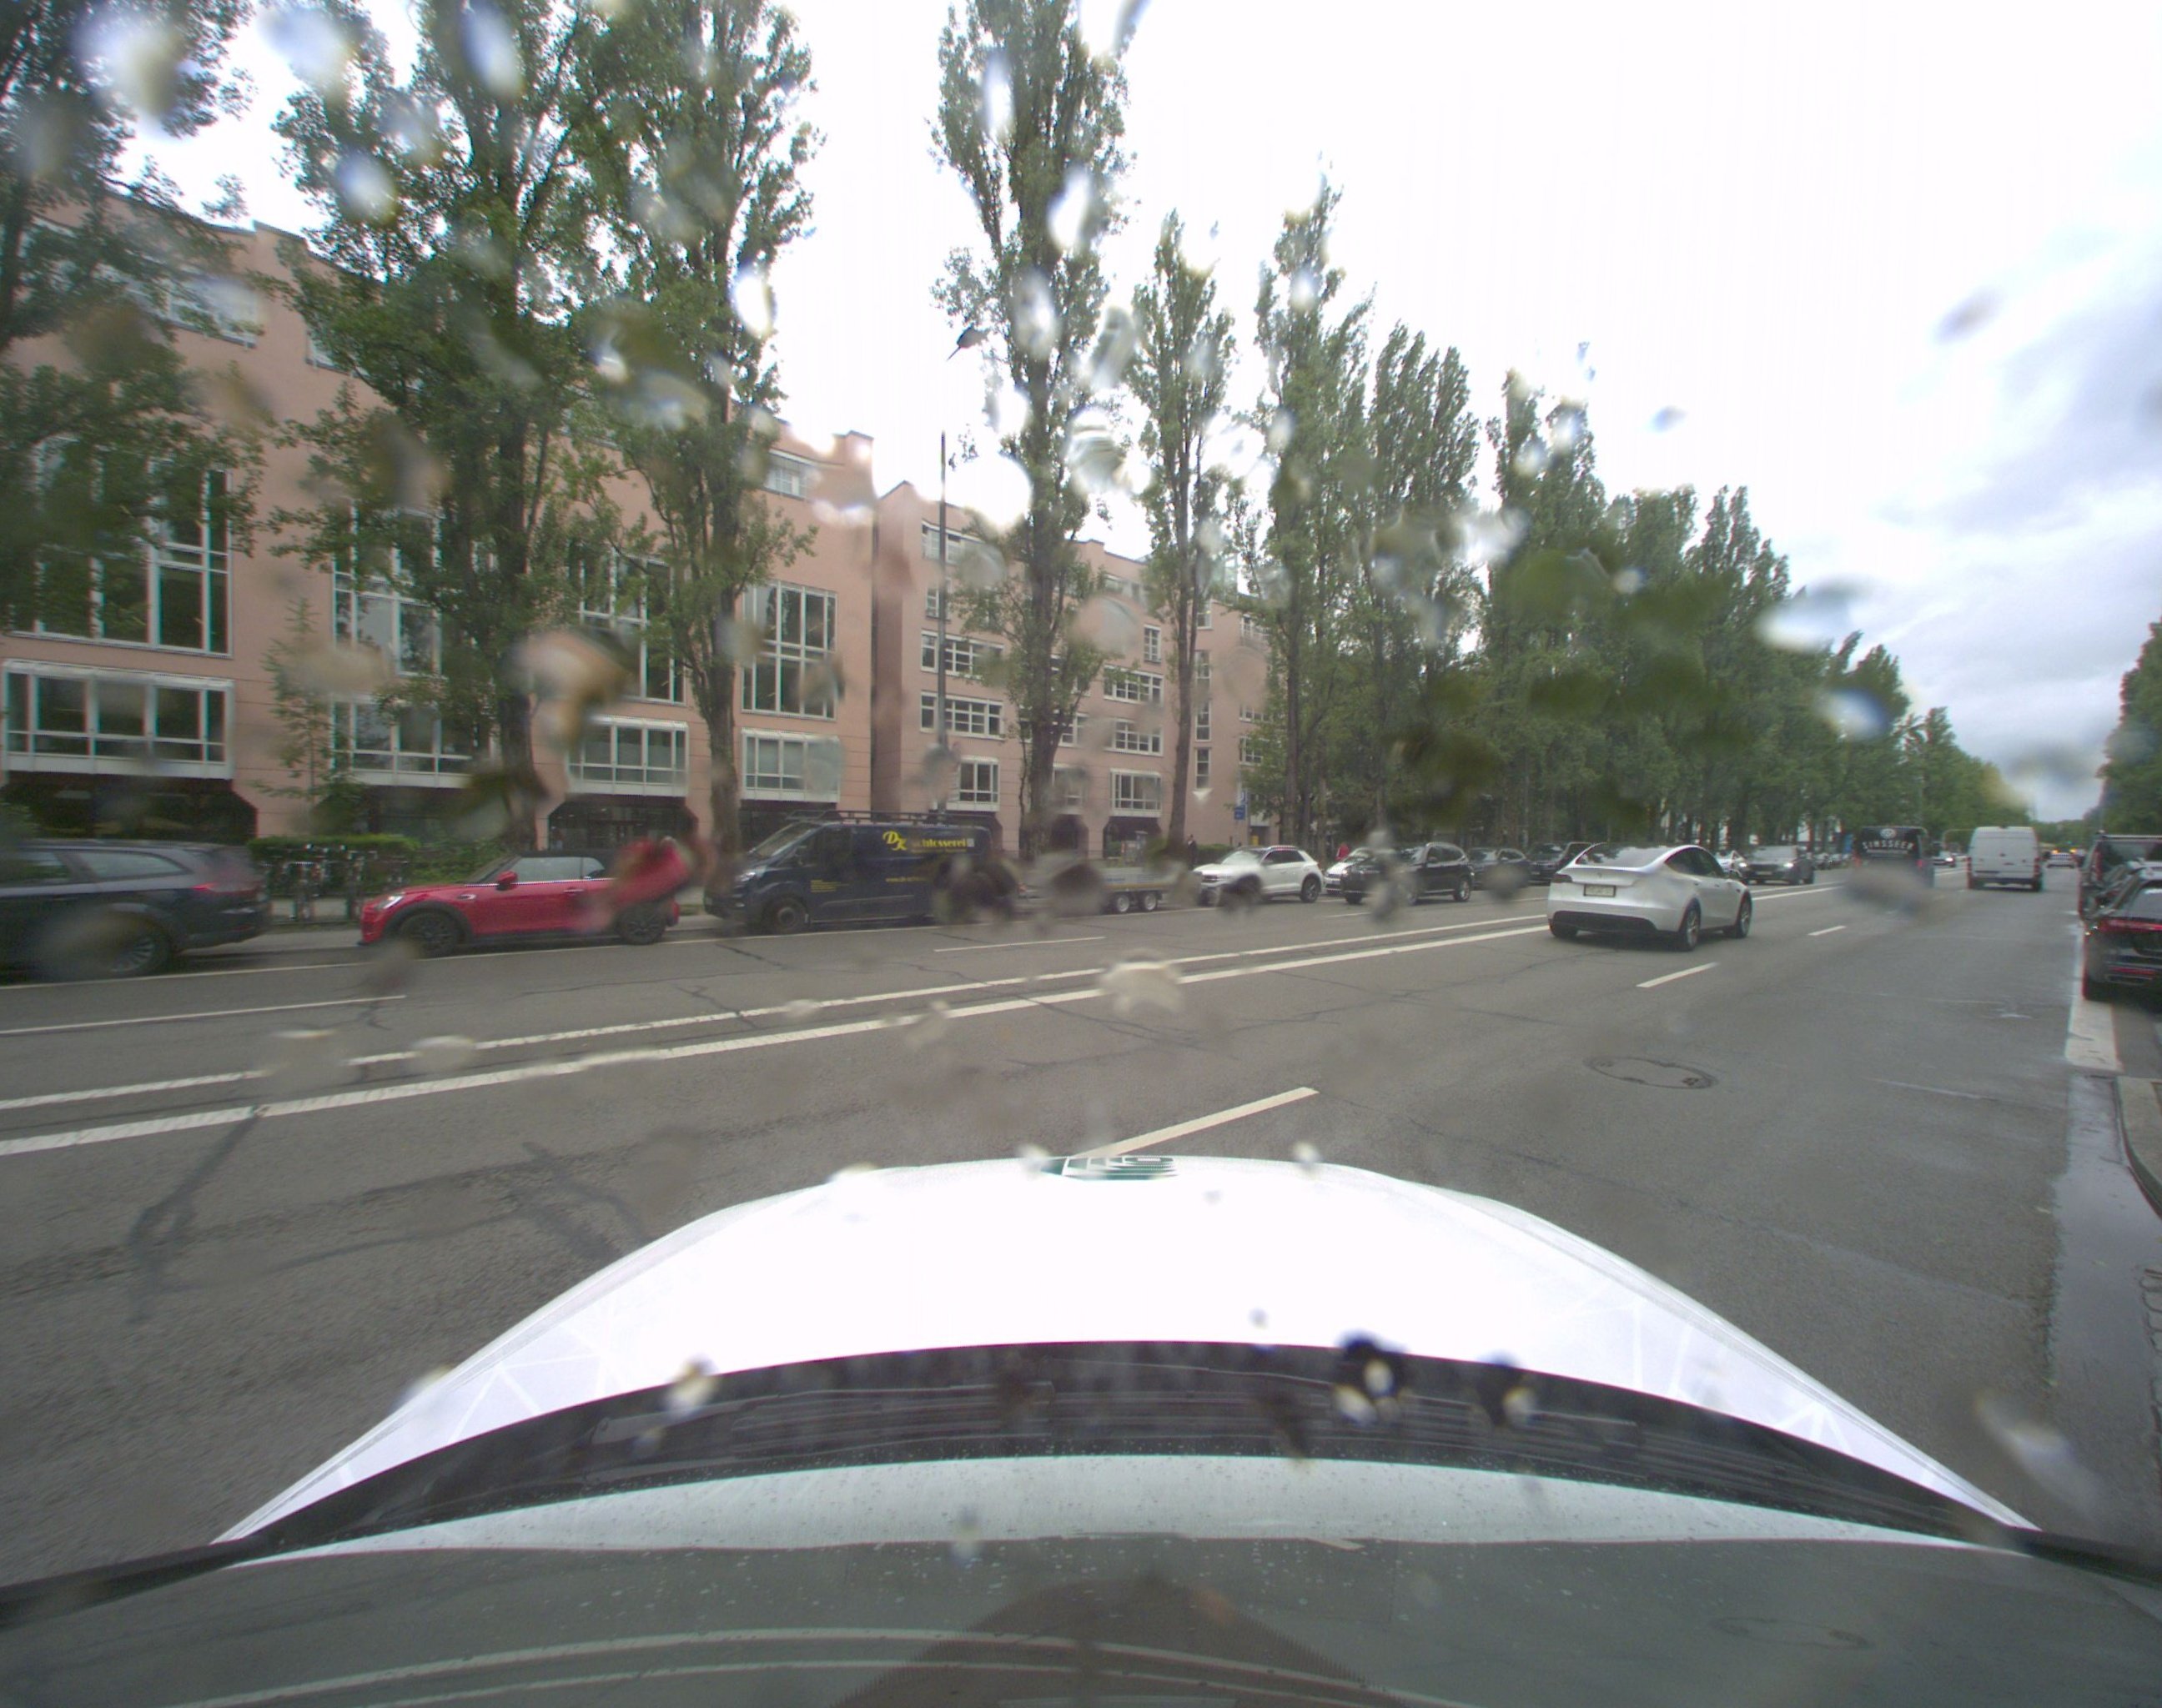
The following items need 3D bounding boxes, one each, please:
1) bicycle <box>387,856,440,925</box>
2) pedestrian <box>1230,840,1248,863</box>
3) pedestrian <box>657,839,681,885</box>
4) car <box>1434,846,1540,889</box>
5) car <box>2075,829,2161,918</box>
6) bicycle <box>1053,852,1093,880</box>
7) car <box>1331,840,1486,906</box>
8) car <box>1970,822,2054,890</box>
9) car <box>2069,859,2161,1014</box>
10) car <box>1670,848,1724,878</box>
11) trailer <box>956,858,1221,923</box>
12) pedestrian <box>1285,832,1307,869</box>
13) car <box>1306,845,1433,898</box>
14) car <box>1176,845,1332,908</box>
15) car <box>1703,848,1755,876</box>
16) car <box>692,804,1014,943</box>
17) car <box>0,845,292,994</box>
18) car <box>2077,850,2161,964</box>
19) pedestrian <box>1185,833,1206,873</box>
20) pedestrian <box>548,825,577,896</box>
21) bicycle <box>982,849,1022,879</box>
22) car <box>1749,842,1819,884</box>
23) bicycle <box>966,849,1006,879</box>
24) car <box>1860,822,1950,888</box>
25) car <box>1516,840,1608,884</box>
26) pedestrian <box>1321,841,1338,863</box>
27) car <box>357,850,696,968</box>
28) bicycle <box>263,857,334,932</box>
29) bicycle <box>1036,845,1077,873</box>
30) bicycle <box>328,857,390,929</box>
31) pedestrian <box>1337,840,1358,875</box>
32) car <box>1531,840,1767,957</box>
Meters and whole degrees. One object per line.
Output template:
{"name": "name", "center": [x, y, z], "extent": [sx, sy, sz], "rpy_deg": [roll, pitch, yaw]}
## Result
{"name": "bicycle", "center": [-11.840, 0.611, 14.483], "extent": [0.679, 1.124, 1.710], "rpy_deg": [0, 1, -38]}
{"name": "pedestrian", "center": [11.362, -0.164, 58.556], "extent": [0.901, 1.662, 0.808], "rpy_deg": [0, 1, -38]}
{"name": "pedestrian", "center": [-15.722, 0.286, 31.080], "extent": [0.712, 1.713, 0.724], "rpy_deg": [0, 1, -36]}
{"name": "car", "center": [15.783, 0.482, 31.583], "extent": [4.345, 1.541, 1.978], "rpy_deg": [0, 1, -38]}
{"name": "car", "center": [25.536, 0.430, 19.581], "extent": [5.066, 1.924, 1.895], "rpy_deg": [0, 2, -41]}
{"name": "bicycle", "center": [-0.343, 0.505, 35.265], "extent": [0.679, 1.124, 1.966], "rpy_deg": [0, 1, -38]}
{"name": "car", "center": [9.068, 0.446, 22.391], "extent": [4.573, 1.642, 1.977], "rpy_deg": [-1, 0, -39]}
{"name": "car", "center": [39.590, 0.018, 34.579], "extent": [6.071, 2.651, 2.023], "rpy_deg": [-1, 3, -39]}
{"name": "car", "center": [12.215, 0.815, 8.711], "extent": [4.466, 1.427, 1.738], "rpy_deg": [0, 2, -35]}
{"name": "car", "center": [36.082, 0.477, 47.664], "extent": [3.630, 1.578, 1.925], "rpy_deg": [-2, 2, -43]}
{"name": "trailer", "center": [0.320, 0.736, 19.057], "extent": [6.067, 1.199, 2.378], "rpy_deg": [0, 1, -38]}
{"name": "pedestrian", "center": [9.936, -0.156, 37.637], "extent": [0.735, 1.713, 0.701], "rpy_deg": [0, 1, -38]}
{"name": "car", "center": [9.318, 0.481, 26.159], "extent": [4.347, 1.541, 1.976], "rpy_deg": [0, 1, -41]}
{"name": "car", "center": [4.745, 0.540, 22.121], "extent": [4.253, 1.542, 1.786], "rpy_deg": [-1, 0, -37]}
{"name": "car", "center": [40.672, 0.463, 51.112], "extent": [3.992, 1.578, 1.747], "rpy_deg": [-2, 2, -39]}
{"name": "car", "center": [-4.127, 0.283, 15.373], "extent": [5.524, 2.197, 2.001], "rpy_deg": [0, 1, -39]}
{"name": "car", "center": [-12.017, 0.677, 8.940], "extent": [4.646, 1.528, 1.773], "rpy_deg": [0, 1, -39]}
{"name": "car", "center": [16.336, 0.739, 12.150], "extent": [3.926, 1.526, 1.729], "rpy_deg": [0, 2, -38]}
{"name": "pedestrian", "center": [4.684, -0.037, 33.385], "extent": [0.658, 1.604, 0.555], "rpy_deg": [0, 1, -19]}
{"name": "pedestrian", "center": [-12.363, 0.138, 19.428], "extent": [0.561, 1.663, 0.614], "rpy_deg": [0, 1, -35]}
{"name": "bicycle", "center": [-3.229, 0.389, 33.161], "extent": [0.679, 1.124, 1.966], "rpy_deg": [0, 1, -38]}
{"name": "car", "center": [30.835, 0.363, 35.663], "extent": [1.975, 1.716, 4.787], "rpy_deg": [-1, 0, 45]}
{"name": "bicycle", "center": [-3.807, 0.385, 32.660], "extent": [0.679, 1.124, 1.966], "rpy_deg": [0, 1, -38]}
{"name": "car", "center": [34.526, -0.016, 34.059], "extent": [5.962, 2.555, 2.059], "rpy_deg": [0, 2, -40]}
{"name": "car", "center": [21.145, 0.297, 35.715], "extent": [4.785, 1.797, 1.977], "rpy_deg": [0, 1, -40]}
{"name": "pedestrian", "center": [18.776, -0.155, 61.560], "extent": [0.901, 1.662, 0.808], "rpy_deg": [0, 1, -38]}
{"name": "car", "center": [-7.945, 0.679, 11.985], "extent": [3.890, 1.448, 1.660], "rpy_deg": [0, 1, -36]}
{"name": "bicycle", "center": [-13.005, 0.641, 13.576], "extent": [0.679, 1.124, 1.722], "rpy_deg": [0, 1, -38]}
{"name": "bicycle", "center": [-1.056, 0.196, 34.672], "extent": [0.679, 1.124, 2.083], "rpy_deg": [0, 1, -38]}
{"name": "bicycle", "center": [-12.412, 0.633, 14.041], "extent": [0.679, 1.124, 1.722], "rpy_deg": [0, 1, -38]}
{"name": "pedestrian", "center": [13.351, 0.166, 40.767], "extent": [0.735, 1.713, 0.701], "rpy_deg": [0, 1, -38]}
{"name": "car", "center": [9.534, 0.585, 13.532], "extent": [4.661, 1.575, 1.977], "rpy_deg": [0, 2, -39]}
